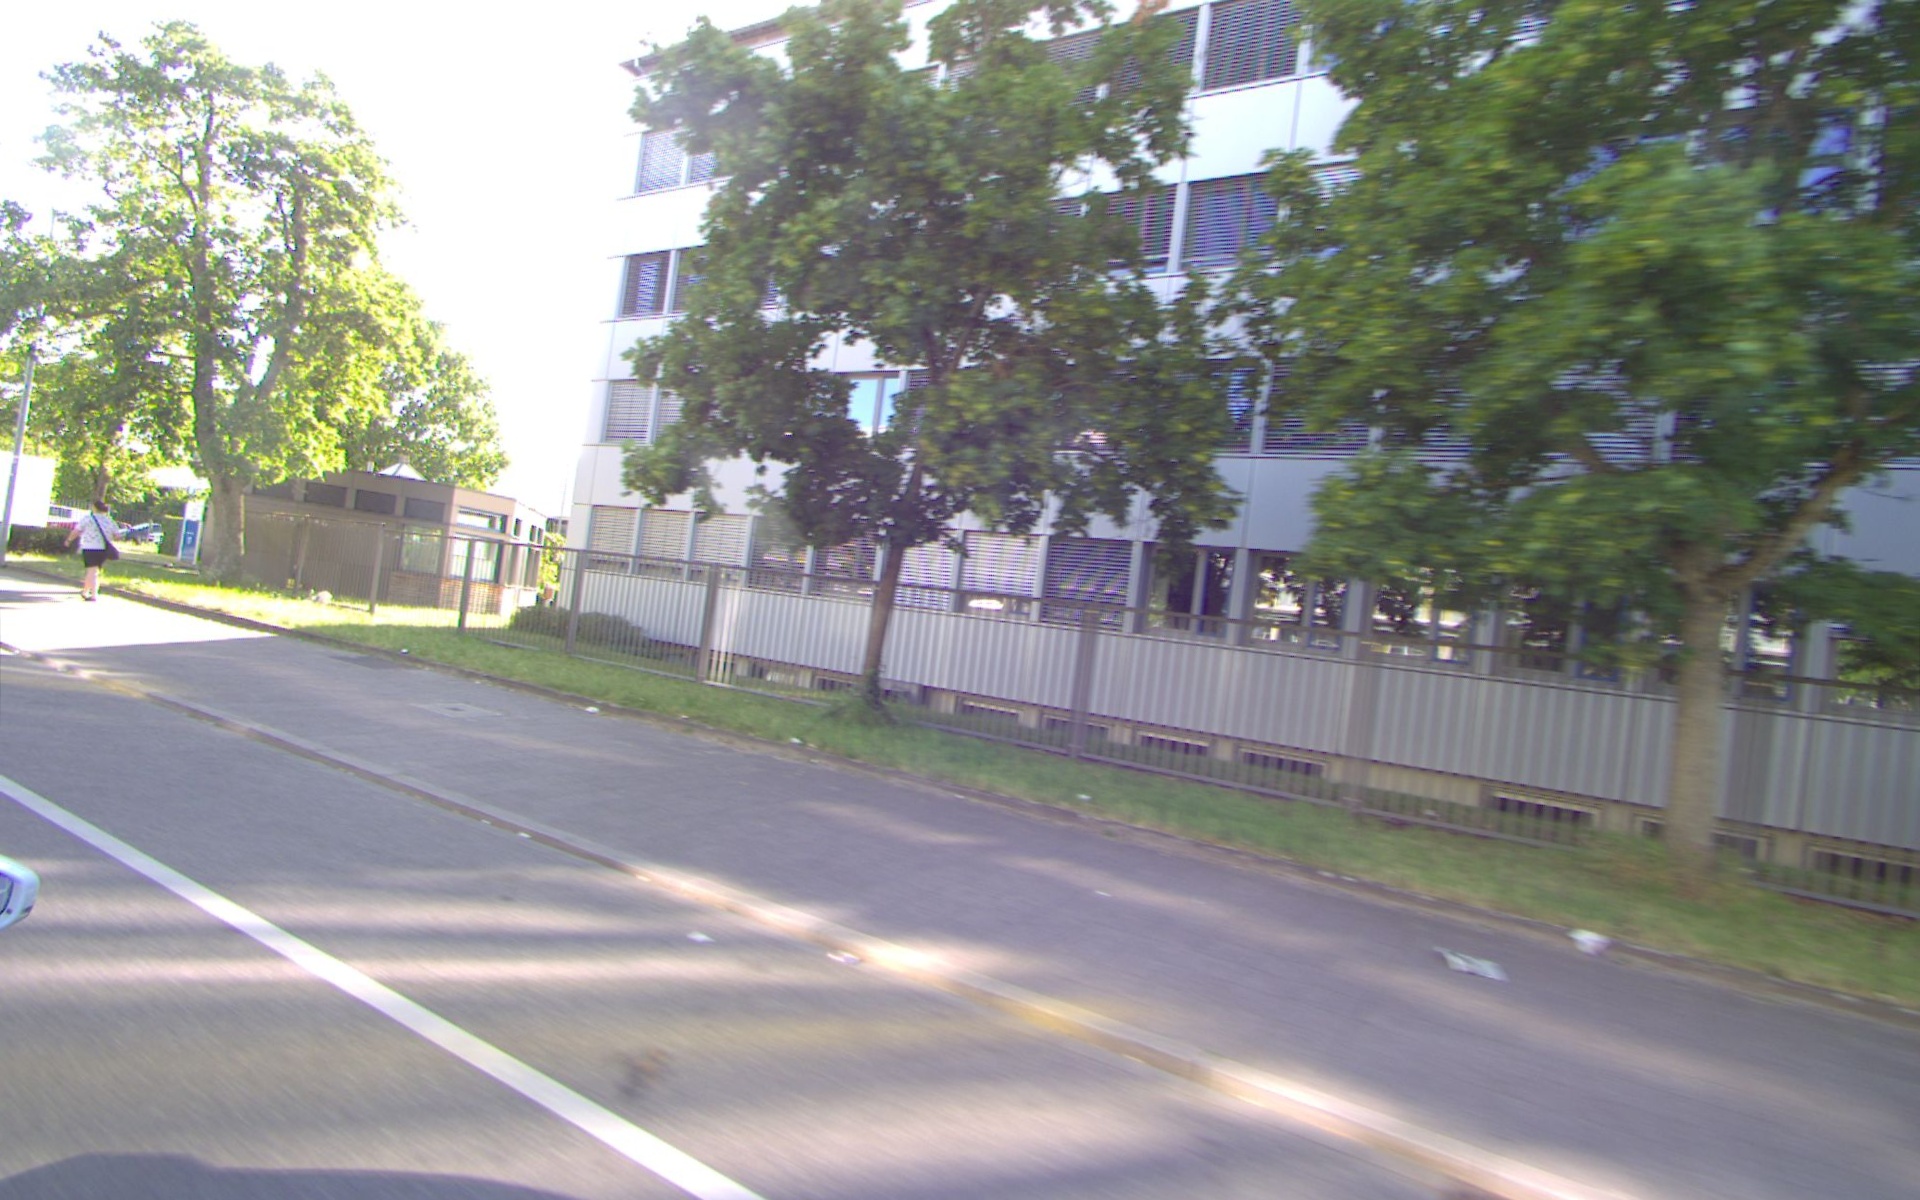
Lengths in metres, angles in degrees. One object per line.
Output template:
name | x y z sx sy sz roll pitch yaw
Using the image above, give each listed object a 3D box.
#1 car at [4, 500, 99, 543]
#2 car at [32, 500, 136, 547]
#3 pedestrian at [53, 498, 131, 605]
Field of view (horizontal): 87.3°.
car | -58.973 -5.070 65.367 1.966 2.036 3.998 5 -3 29
car | -51.464 -4.488 59.187 1.965 2.036 4.000 6 -3 27
pedestrian | -14.555 -0.812 16.874 0.739 1.682 0.699 7 2 31
